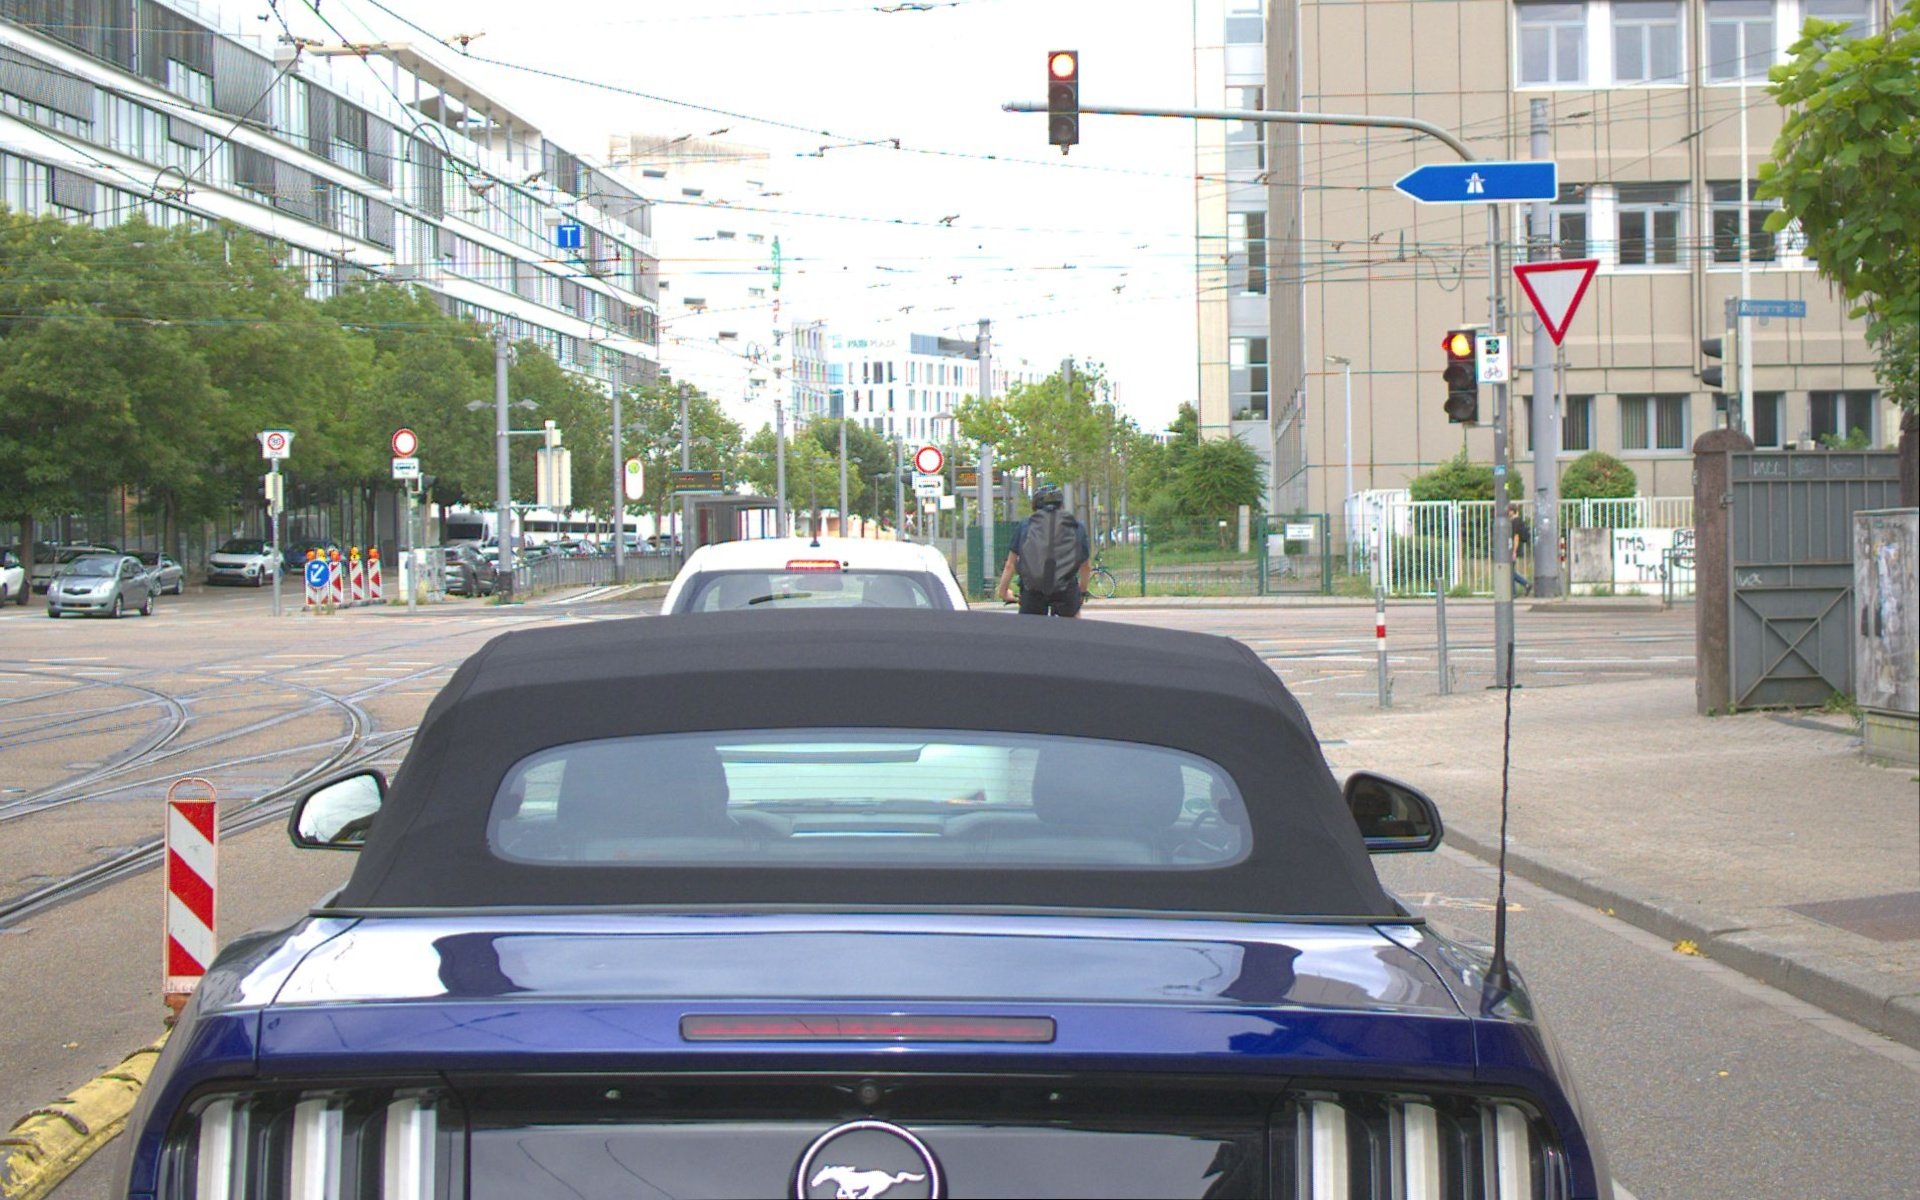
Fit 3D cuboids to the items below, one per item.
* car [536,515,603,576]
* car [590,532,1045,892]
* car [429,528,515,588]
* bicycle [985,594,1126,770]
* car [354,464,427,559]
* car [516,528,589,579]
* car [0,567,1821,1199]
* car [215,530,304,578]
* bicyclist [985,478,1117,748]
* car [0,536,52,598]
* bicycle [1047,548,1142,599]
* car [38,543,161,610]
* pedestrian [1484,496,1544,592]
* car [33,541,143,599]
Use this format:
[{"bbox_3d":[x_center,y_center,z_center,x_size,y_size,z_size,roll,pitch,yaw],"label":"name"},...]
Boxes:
[{"bbox_3d":[-13.143,-1.854,115.947,1.785,1.980,4.121,-1,1,-1],"label":"car"},{"bbox_3d":[-0.750,0.414,16.147,1.835,1.434,4.188,-1,1,-5],"label":"car"},{"bbox_3d":[-13.777,-1.210,97.250,1.879,1.623,4.087,-1,1,-1],"label":"car"},{"bbox_3d":[0.626,0.530,23.293,0.800,1.082,2.132,-1,1,-2],"label":"bicycle"},{"bbox_3d":[-22.387,-3.473,135.335,1.986,3.624,4.512,1,1,1],"label":"car"},{"bbox_3d":[-13.098,-1.517,110.784,1.868,1.600,4.213,-1,1,-1],"label":"car"},{"bbox_3d":[-0.140,0.684,5.419,1.876,1.399,4.282,1,1,0],"label":"car"},{"bbox_3d":[-23.676,-1.575,116.345,1.986,1.551,4.512,1,1,1],"label":"car"},{"bbox_3d":[0.611,0.074,23.456,0.796,1.779,1.233,-1,1,-2],"label":"bicyclist"},{"bbox_3d":[-25.611,-0.890,90.992,1.830,1.551,4.216,1,1,3],"label":"car"},{"bbox_3d":[2.834,-0.559,72.722,0.632,0.977,2.157,-2,-1,-42],"label":"bicycle"},{"bbox_3d":[-20.724,-0.591,82.938,1.668,1.501,4.234,1,1,3],"label":"car"},{"bbox_3d":[11.017,-1.115,68.423,1.086,1.891,0.902,-1,1,5],"label":"pedestrian"},{"bbox_3d":[-24.851,-0.882,98.156,1.830,1.551,4.216,1,1,3],"label":"car"}]
